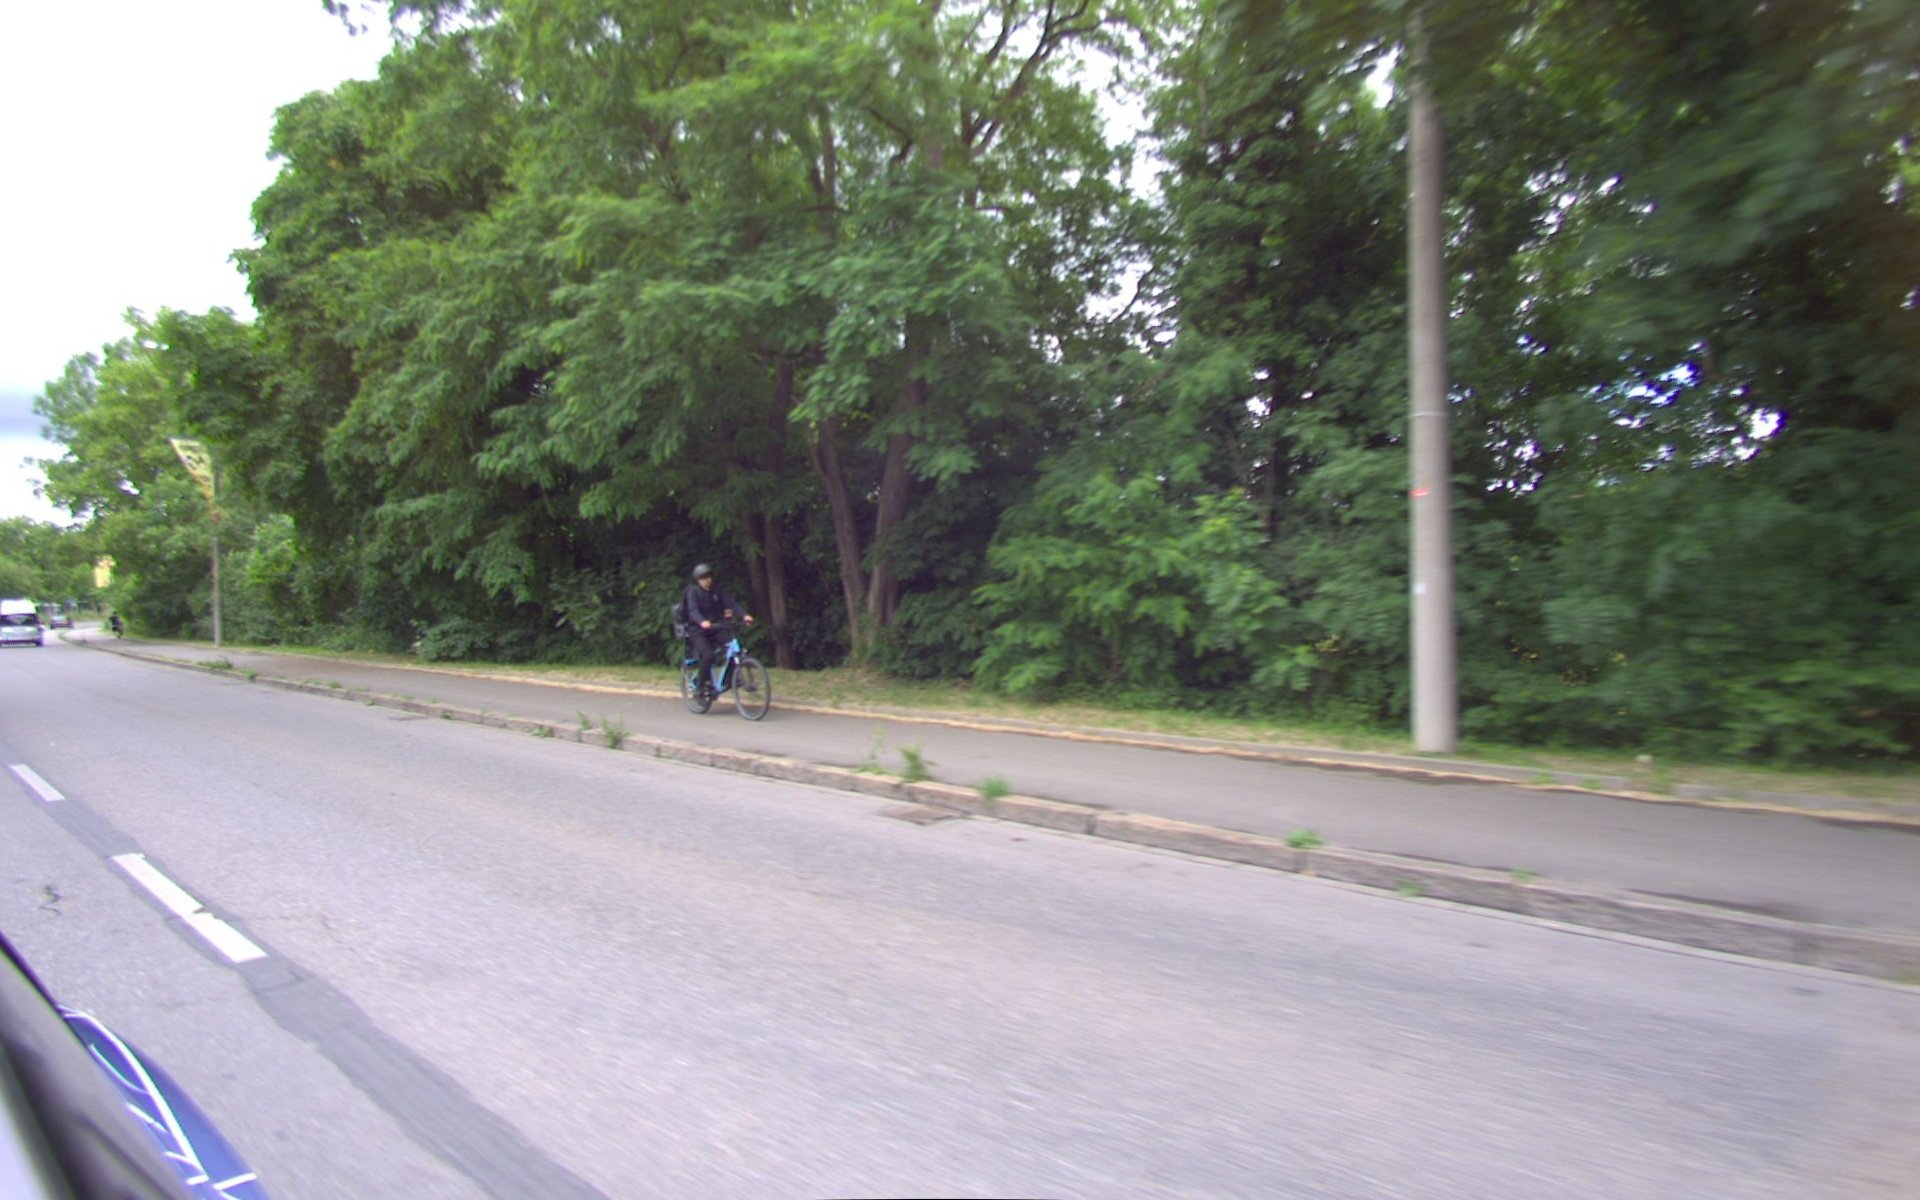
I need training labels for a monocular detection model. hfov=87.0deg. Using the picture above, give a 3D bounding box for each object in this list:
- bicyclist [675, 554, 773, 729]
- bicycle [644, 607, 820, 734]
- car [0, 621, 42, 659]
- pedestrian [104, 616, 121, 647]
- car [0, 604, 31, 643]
[{"bbox_3d":[-2.779,0.462,11.912,0.835,1.962,0.680,-1,1,38],"label":"bicyclist"},{"bbox_3d":[-2.716,0.785,11.897,2.277,1.341,0.692,-2,1,38],"label":"bicycle"},{"bbox_3d":[-48.163,2.008,51.411,4.556,1.813,1.836,-2,-1,42],"label":"car"},{"bbox_3d":[-48.197,1.808,57.545,0.815,1.727,0.592,-2,1,44],"label":"pedestrian"},{"bbox_3d":[-67.238,1.678,71.551,5.897,2.646,1.971,-2,-2,45],"label":"car"}]
